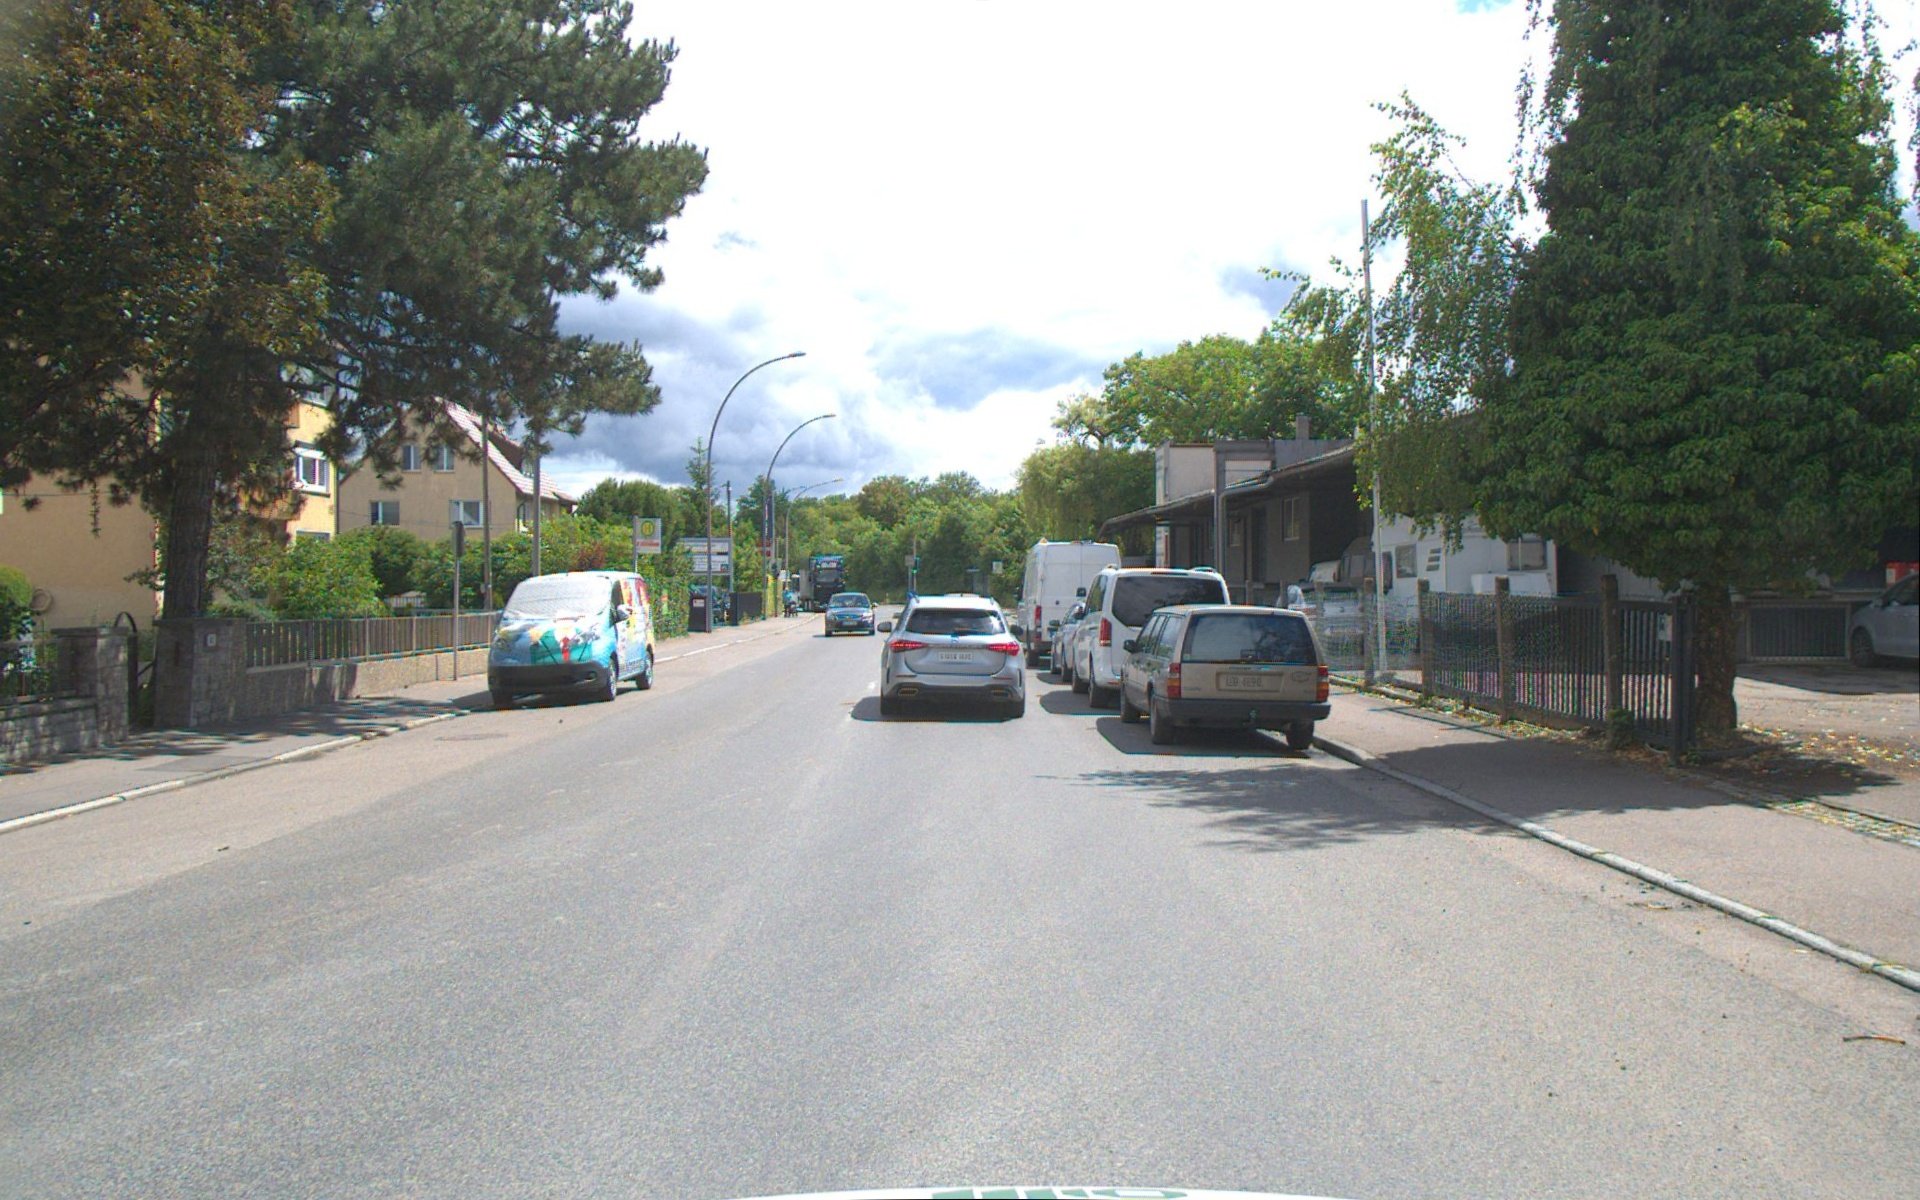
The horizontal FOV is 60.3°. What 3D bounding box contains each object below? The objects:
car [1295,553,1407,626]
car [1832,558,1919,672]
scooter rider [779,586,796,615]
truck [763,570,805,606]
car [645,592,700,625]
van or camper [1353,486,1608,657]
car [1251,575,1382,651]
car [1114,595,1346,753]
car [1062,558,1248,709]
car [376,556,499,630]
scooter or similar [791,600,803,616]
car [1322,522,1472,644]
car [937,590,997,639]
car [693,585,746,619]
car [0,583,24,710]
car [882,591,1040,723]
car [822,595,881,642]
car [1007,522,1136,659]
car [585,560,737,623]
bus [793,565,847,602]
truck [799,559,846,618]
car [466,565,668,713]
[{"bbox_3d":[10.958,-0.336,46.741,1.953,1.943,4.852,0,1,-1],"label":"car"},{"bbox_3d":[16.335,0.250,26.923,1.780,1.782,4.813,0,2,1],"label":"car"},{"bbox_3d":[-9.480,0.023,90.913,0.860,1.617,0.796,0,0,-1],"label":"scooter rider"},{"bbox_3d":[-18.783,-1.254,176.062,2.794,3.602,9.680,-1,0,-16],"label":"truck"},{"bbox_3d":[-13.696,0.390,79.014,2.110,1.533,4.265,0,0,-3],"label":"car"},{"bbox_3d":[10.386,-0.547,33.848,2.823,3.114,6.910,0,0,-2],"label":"van or camper"},{"bbox_3d":[7.646,0.234,35.907,1.728,1.515,4.926,0,1,-1],"label":"car"},{"bbox_3d":[2.864,0.716,18.637,1.719,1.476,4.993,2,0,-1],"label":"car"},{"bbox_3d":[2.699,0.409,24.158,1.867,1.918,5.388,1,0,-2],"label":"car"},{"bbox_3d":[-19.415,-0.259,61.824,2.362,2.539,6.137,-2,0,2],"label":"car"},{"bbox_3d":[-8.909,0.432,90.471,0.599,0.846,0.659,1,0,-1],"label":"scooter or similar"},{"bbox_3d":[10.416,-0.452,39.875,1.977,2.728,5.496,0,2,-2],"label":"car"},{"bbox_3d":[0.226,0.441,53.262,1.846,1.534,4.000,0,0,0],"label":"car"},{"bbox_3d":[-11.322,0.065,78.197,2.111,1.533,4.265,-1,0,-3],"label":"car"},{"bbox_3d":[-15.077,0.713,22.150,2.037,1.863,5.478,-1,0,-1],"label":"car"},{"bbox_3d":[-0.005,0.660,21.356,1.846,1.534,4.000,0,0,-1],"label":"car"},{"bbox_3d":[-3.771,0.617,58.054,1.862,1.544,4.317,-1,0,-2],"label":"car"},{"bbox_3d":[2.374,-0.218,36.984,2.170,2.736,6.655,-1,0,-2],"label":"car"},{"bbox_3d":[-12.554,-0.361,69.779,5.914,2.540,2.477,-1,0,-1],"label":"car"},{"bbox_3d":[-13.299,-1.531,156.178,2.733,3.323,12.068,-1,0,-16],"label":"bus"},{"bbox_3d":[-10.336,-0.844,123.486,2.385,4.203,9.125,2,0,-11],"label":"truck"},{"bbox_3d":[-5.733,0.472,24.760,1.796,1.885,4.895,-4,1,-1],"label":"car"}]
